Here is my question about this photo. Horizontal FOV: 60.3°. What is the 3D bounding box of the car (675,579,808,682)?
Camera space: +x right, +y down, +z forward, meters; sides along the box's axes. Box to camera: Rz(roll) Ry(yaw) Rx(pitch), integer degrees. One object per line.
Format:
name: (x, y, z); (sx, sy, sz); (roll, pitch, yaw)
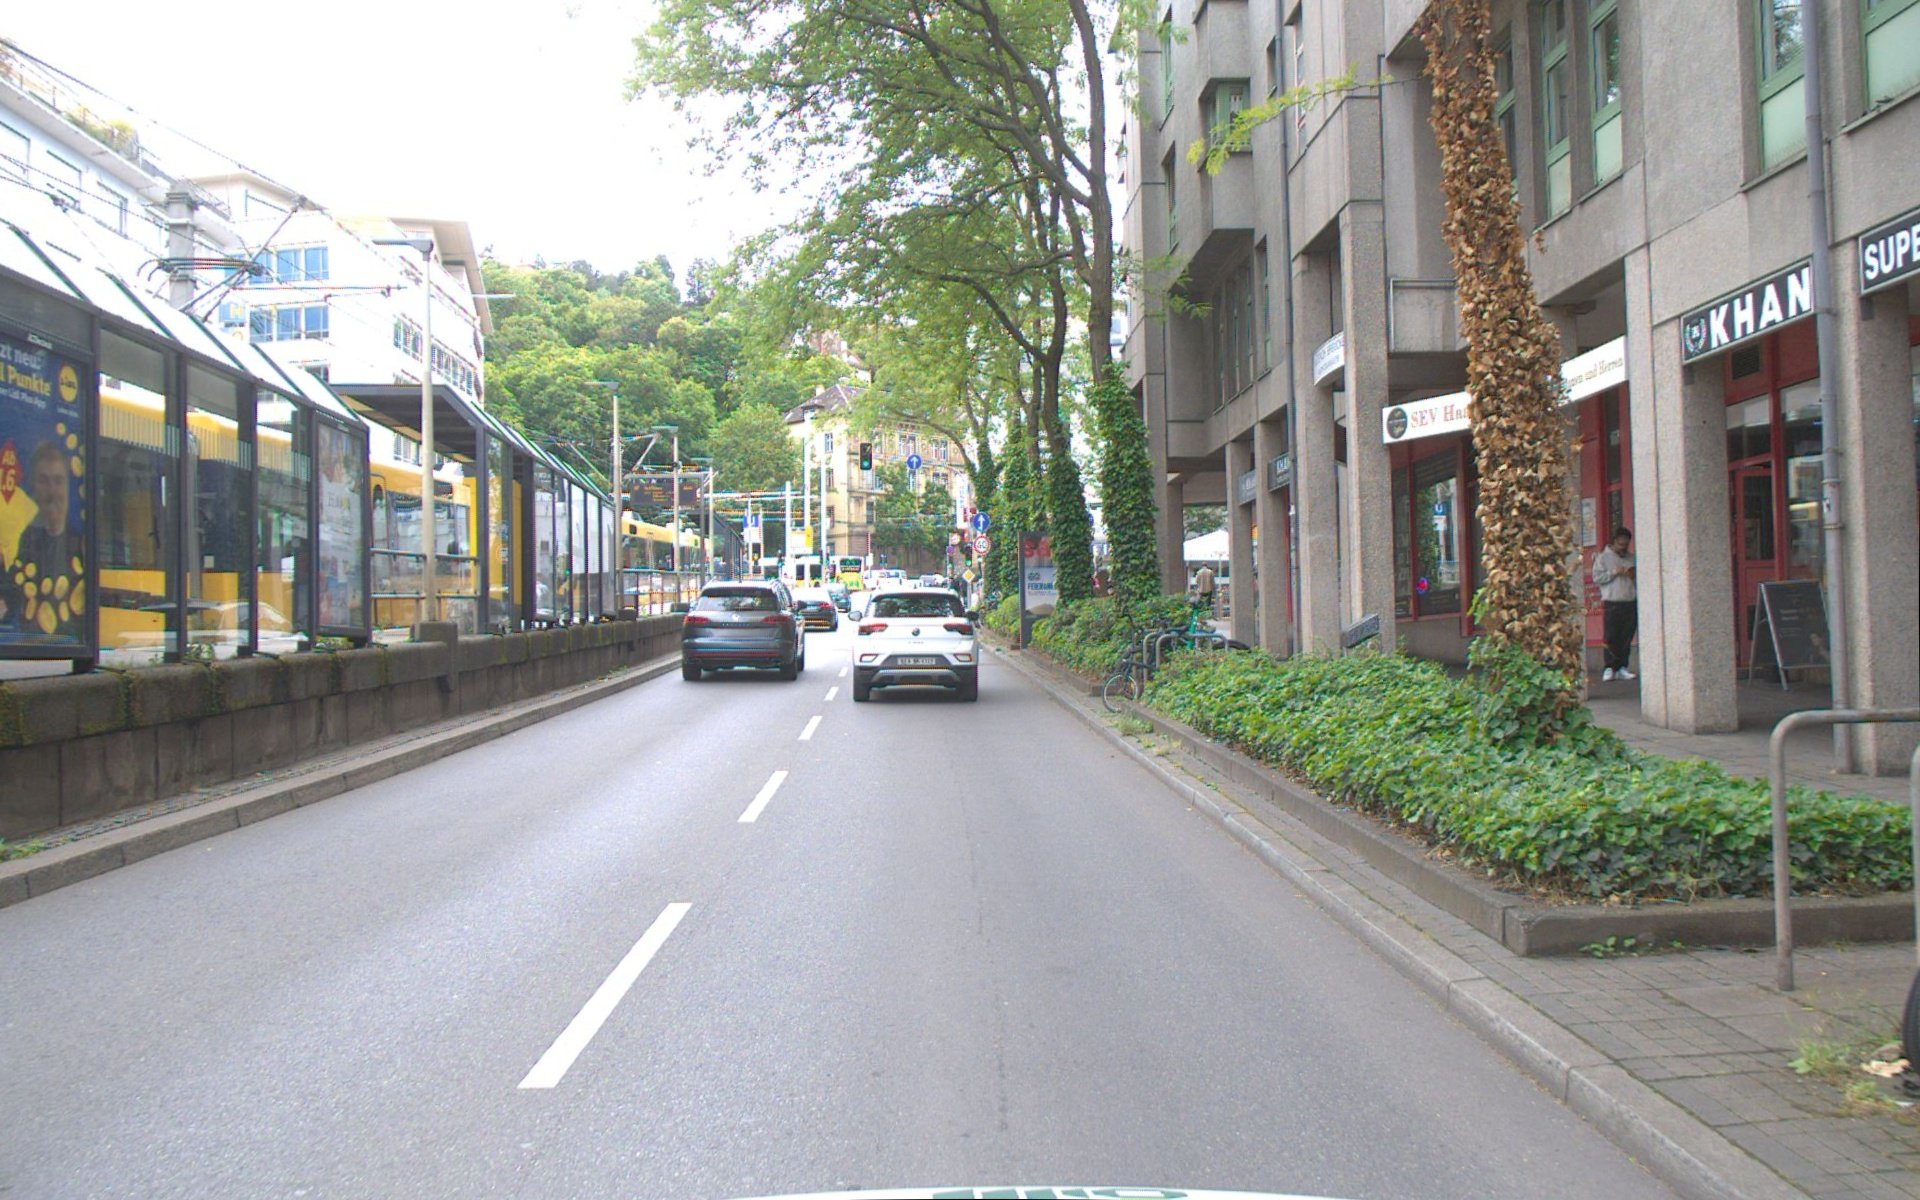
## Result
car: (-3.740, 0.482, 28.971); (1.953, 1.664, 3.998); (0, 0, -2)

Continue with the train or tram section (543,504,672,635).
train or tram section: (-10.659, -0.855, 50.596); (2.757, 3.730, 6.747); (0, 0, -3)

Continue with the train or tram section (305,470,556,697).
train or tram section: (-9.440, -0.259, 30.184); (2.756, 3.730, 5.901); (0, 0, -1)

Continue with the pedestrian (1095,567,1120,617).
pedestrian: (4.801, -0.254, 53.845); (0.627, 1.636, 0.584); (1, -2, -22)

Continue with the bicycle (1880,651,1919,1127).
bicycle: (3.266, 0.697, 4.190); (1.676, 1.204, 0.448); (-3, 0, -9)

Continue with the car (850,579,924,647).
car: (-1.922, 0.364, 43.891); (1.847, 1.713, 4.159); (0, -1, -2)

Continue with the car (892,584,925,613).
car: (-3.144, -0.084, 101.681); (1.846, 1.713, 4.161); (0, -1, 1)

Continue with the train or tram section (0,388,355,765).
train or tram section: (-9.213, -0.216, 18.588); (2.777, 3.582, 5.750); (0, 0, -1)

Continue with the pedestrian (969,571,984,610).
pedestrian: (0.903, -0.500, 88.104); (0.746, 2.049, 0.838); (0, -1, 3)

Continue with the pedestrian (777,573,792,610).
pedestrian: (-9.795, -0.470, 92.384); (0.746, 2.049, 0.838); (0, -1, -1)

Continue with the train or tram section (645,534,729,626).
train or tram section: (-11.605, -0.802, 70.875); (2.757, 3.730, 6.747); (0, 0, -3)

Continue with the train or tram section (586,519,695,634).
train or tram section: (-10.966, -0.744, 57.362); (2.757, 3.730, 6.747); (0, 0, -3)

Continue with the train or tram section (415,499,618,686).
train or tram section: (-9.579, -0.137, 36.511); (2.756, 3.730, 6.749); (0, 0, -1)

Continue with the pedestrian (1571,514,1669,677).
pedestrian: (7.727, -0.061, 19.384); (0.814, 1.834, 0.723); (-2, 2, 1)

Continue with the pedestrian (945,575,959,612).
pedestrian: (-0.433, -0.339, 91.835); (0.746, 2.049, 0.838); (0, -1, 3)

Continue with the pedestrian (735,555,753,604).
pedestrian: (-9.173, -0.856, 70.153); (0.748, 2.049, 0.836); (1, -1, -9)

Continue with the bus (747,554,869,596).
bus: (-12.834, -2.017, 138.273); (3.351, 3.118, 13.132); (1, -2, -40)

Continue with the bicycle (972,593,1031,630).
bicycle: (1.333, 0.359, 52.914); (1.841, 1.157, 0.808); (0, -1, 4)

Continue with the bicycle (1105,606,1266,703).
bicycle: (2.812, 0.676, 20.705); (1.878, 1.095, 0.613); (-3, 0, -5)

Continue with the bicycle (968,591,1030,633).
bicycle: (1.208, 0.387, 51.416); (1.840, 1.288, 0.765); (0, -1, 9)

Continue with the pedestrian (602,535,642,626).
pedestrian: (-6.803, -0.388, 33.299); (0.614, 1.793, 0.846); (-1, 0, -2)

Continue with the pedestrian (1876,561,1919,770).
pedestrian: (7.859, 0.510, 13.259); (0.766, 1.640, 0.614); (-1, 2, 42)

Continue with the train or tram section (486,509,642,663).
train or tram section: (-10.338, -0.330, 43.834); (2.757, 3.730, 6.747); (0, 0, -3)

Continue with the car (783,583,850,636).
car: (-4.793, 0.286, 55.761); (1.873, 1.719, 4.000); (1, 1, 0)

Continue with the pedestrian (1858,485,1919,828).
pedestrian: (5.432, 0.286, 8.826); (0.747, 1.814, 0.847); (-2, 2, -7)

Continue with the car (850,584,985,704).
car: (-0.630, 0.576, 24.219); (1.800, 1.611, 4.155); (0, 0, -2)

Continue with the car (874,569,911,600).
car: (-4.862, -1.084, 119.467); (2.315, 2.049, 5.148); (0, -1, 2)

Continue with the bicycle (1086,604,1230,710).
bicycle: (2.313, 0.661, 19.468); (1.586, 1.147, 0.613); (-3, 0, 2)

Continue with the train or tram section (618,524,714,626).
train or tram section: (-11.290, -0.914, 64.113); (2.757, 3.730, 6.747); (0, 0, -3)

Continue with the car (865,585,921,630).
car: (-2.715, 0.319, 66.243); (1.849, 1.713, 4.153); (0, -1, -8)

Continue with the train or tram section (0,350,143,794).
train or tram section: (-9.122, -0.233, 12.807); (2.777, 3.582, 5.750); (0, 0, -1)

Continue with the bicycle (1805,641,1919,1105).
bicycle: (3.317, 0.696, 4.675); (1.676, 1.204, 0.448); (-3, 0, -9)

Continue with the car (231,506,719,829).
car: (-3.465, 0.483, 13.122); (2.316, 2.049, 5.147); (0, -1, 0)

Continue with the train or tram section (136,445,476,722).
train or tram section: (-9.325, -0.199, 24.346); (2.777, 3.582, 5.750); (0, 0, -1)
